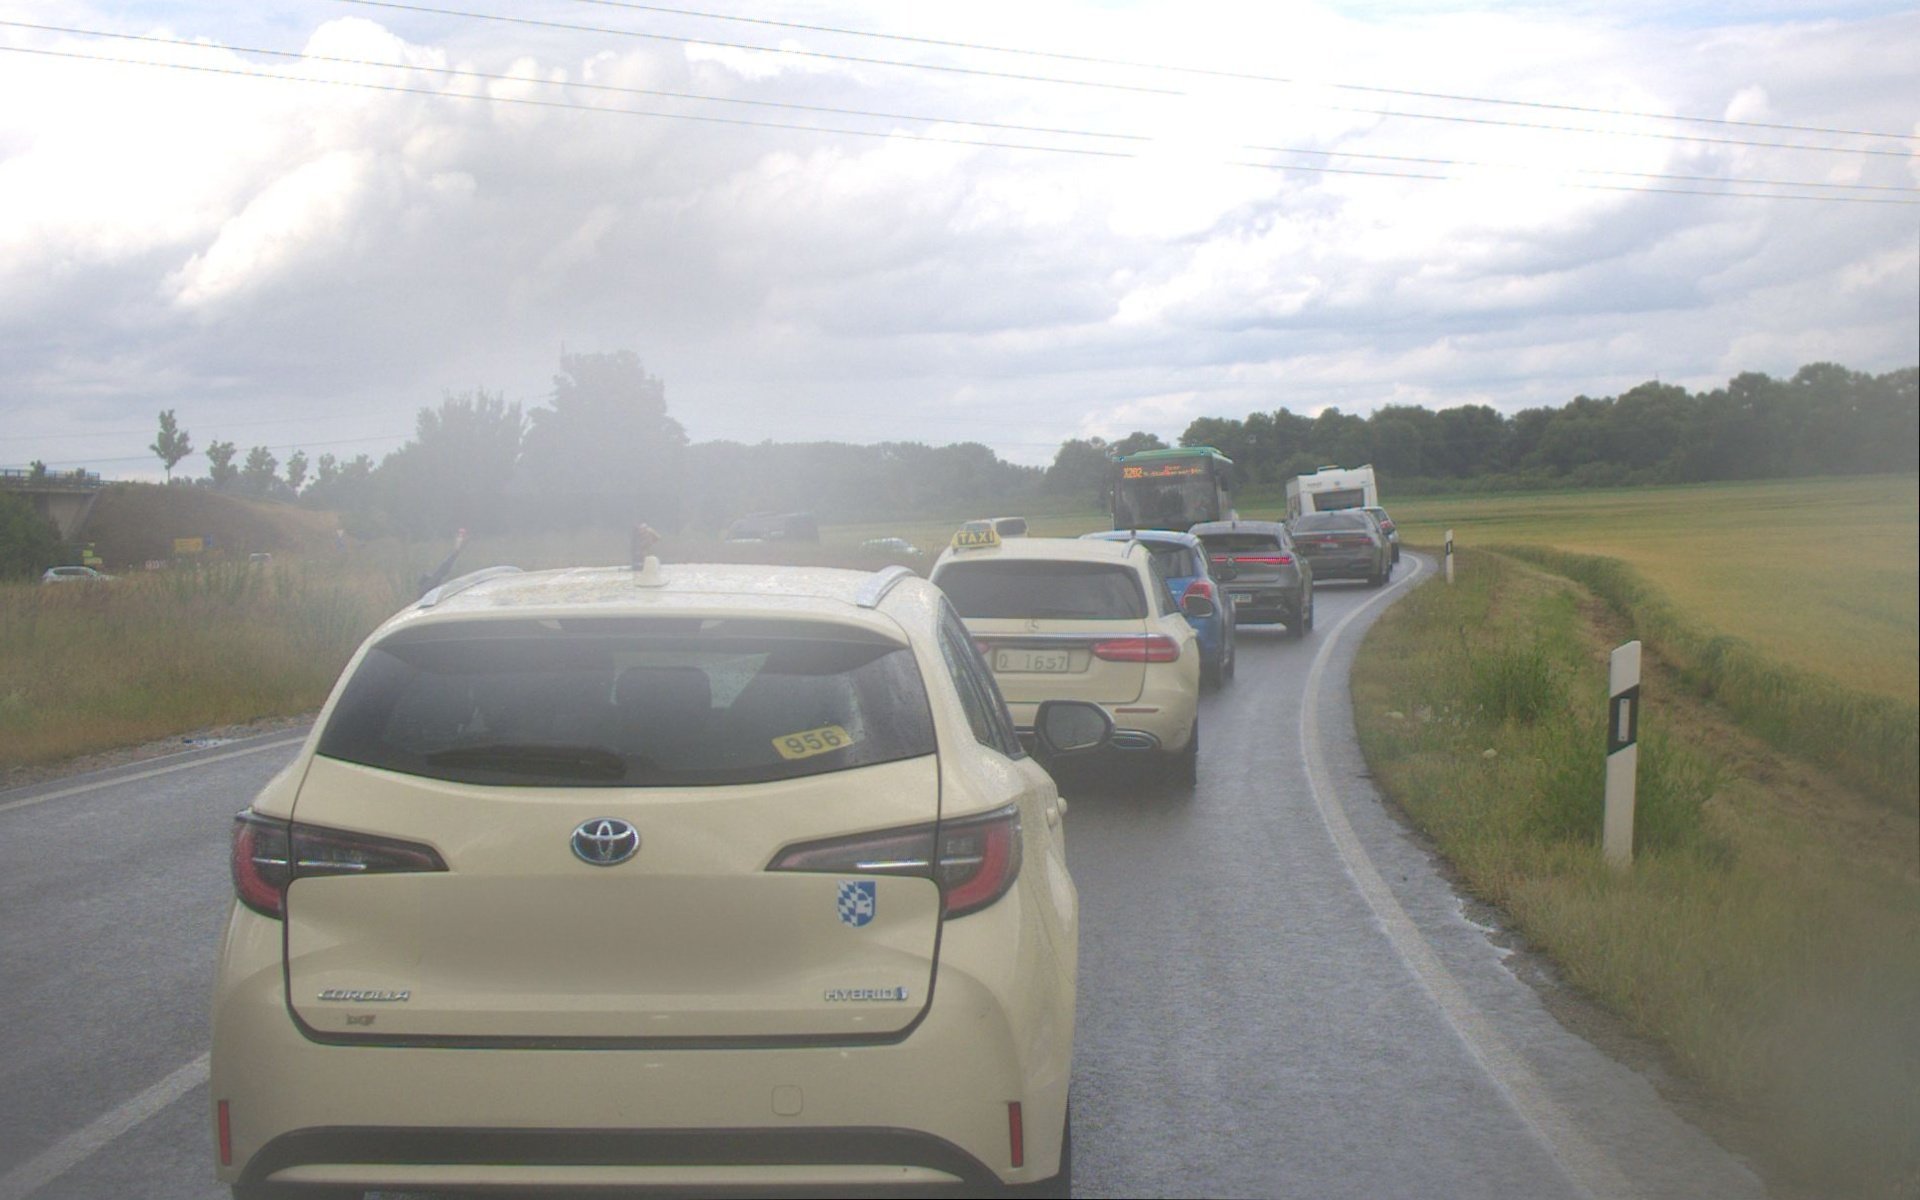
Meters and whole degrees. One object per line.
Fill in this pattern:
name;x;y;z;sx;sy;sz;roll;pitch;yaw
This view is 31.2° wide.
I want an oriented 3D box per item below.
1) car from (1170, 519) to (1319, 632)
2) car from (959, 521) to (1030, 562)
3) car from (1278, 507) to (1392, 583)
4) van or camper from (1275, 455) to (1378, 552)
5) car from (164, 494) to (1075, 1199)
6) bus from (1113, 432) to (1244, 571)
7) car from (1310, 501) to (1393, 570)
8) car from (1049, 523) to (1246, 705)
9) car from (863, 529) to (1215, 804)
car;3.768;-0.311;45.102;1.613;1.408;3.737;0;0;10
car;1.566;-2.630;155.584;1.882;1.767;4.161;0;0;-20
car;7.347;-1.049;67.029;1.960;1.408;4.390;0;0;9
van or camper;11.207;-2.947;105.599;2.536;2.886;6.743;0;1;1
car;-0.562;0.585;8.107;1.613;1.557;3.738;0;0;3
bus;5.688;-2.469;87.631;2.759;3.286;12.500;0;1;6
car;10.237;-1.677;90.117;1.960;1.723;3.738;0;0;4
car;1.874;0.122;33.416;1.613;1.653;3.737;0;0;8
car;0.601;0.317;21.192;1.841;1.487;4.607;0;1;5
